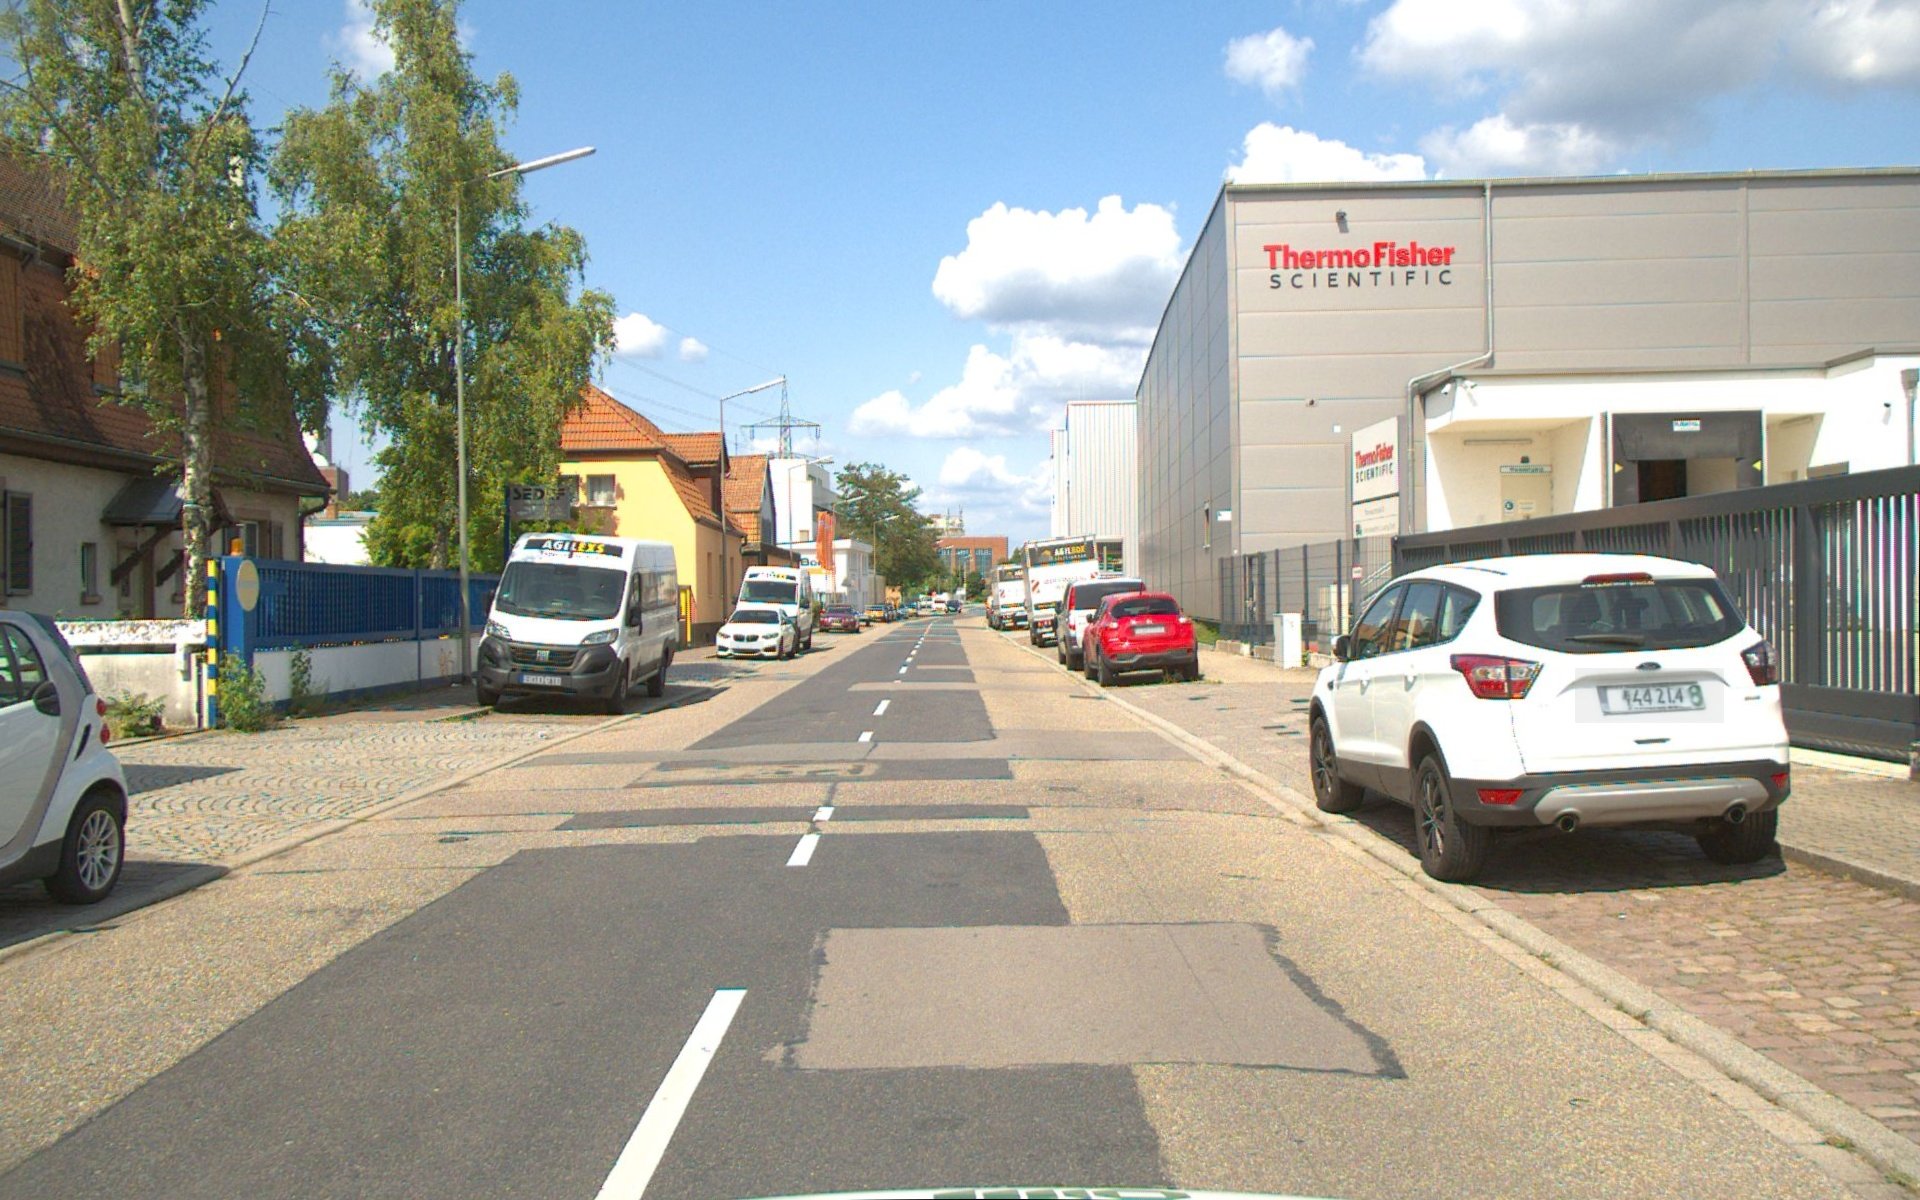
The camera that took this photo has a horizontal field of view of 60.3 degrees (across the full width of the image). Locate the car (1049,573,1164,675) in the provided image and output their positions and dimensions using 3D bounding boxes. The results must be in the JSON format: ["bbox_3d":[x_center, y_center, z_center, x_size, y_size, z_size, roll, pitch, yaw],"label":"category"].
[{"bbox_3d":[3.170,0.495,36.863,2.012,1.936,5.147,-5,0,1],"label":"car"}]

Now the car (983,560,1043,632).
[{"bbox_3d":[2.682,-0.171,85.618,2.341,3.421,6.640,-4,0,-3],"label":"car"}]

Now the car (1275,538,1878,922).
[{"bbox_3d":[3.444,0.619,10.369,1.896,1.723,4.679,-4,0,-1],"label":"car"}]

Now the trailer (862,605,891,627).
[{"bbox_3d":[-6.225,1.189,124.027,1.953,1.584,4.253,-1,0,0],"label":"trailer"}]

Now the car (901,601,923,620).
[{"bbox_3d":[-4.713,1.065,163.076,1.882,1.825,4.001,0,-1,2],"label":"car"}]

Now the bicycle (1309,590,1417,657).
[{"bbox_3d":[7.733,0.449,31.742,1.909,1.163,0.457,-3,0,2],"label":"bicycle"}]

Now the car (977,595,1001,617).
[{"bbox_3d":[2.478,0.543,139.603,1.899,1.772,4.377,-2,0,2],"label":"car"}]

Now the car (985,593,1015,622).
[{"bbox_3d":[2.367,0.451,98.077,1.732,1.640,3.873,-1,-1,1],"label":"car"}]

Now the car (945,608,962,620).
[{"bbox_3d":[-0.712,1.566,187.760,1.879,1.307,3.614,-2,0,-1],"label":"car"}]

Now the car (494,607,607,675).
[{"bbox_3d":[-10.896,1.052,44.292,1.827,1.488,4.144,-3,2,2],"label":"car"}]

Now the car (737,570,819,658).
[{"bbox_3d":[-5.707,0.443,52.697,1.986,2.606,6.837,0,0,-1],"label":"car"}]

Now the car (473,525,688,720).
[{"bbox_3d":[-5.664,0.335,25.640,1.989,2.602,6.654,1,-1,-2],"label":"car"}]

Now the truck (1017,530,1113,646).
[{"bbox_3d":[3.357,-0.359,54.462,2.409,3.349,6.817,-6,0,0],"label":"truck"}]

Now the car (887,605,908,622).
[{"bbox_3d":[-5.463,1.167,145.114,1.634,1.473,3.453,1,-1,0],"label":"car"}]

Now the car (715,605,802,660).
[{"bbox_3d":[-5.466,0.870,45.389,1.759,1.422,4.502,0,0,1],"label":"car"}]

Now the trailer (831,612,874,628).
[{"bbox_3d":[-6.665,1.240,102.998,2.314,0.908,5.568,1,0,0],"label":"trailer"}]

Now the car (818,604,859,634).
[{"bbox_3d":[-6.156,0.954,84.324,1.726,1.473,4.740,1,0,0],"label":"car"}]

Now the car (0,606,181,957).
[{"bbox_3d":[-5.276,0.850,7.888,1.576,1.601,3.010,2,0,1],"label":"car"}]

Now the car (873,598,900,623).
[{"bbox_3d":[-6.179,0.868,139.599,1.952,2.049,4.001,0,-1,2],"label":"car"}]

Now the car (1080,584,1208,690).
[{"bbox_3d":[3.249,0.645,29.871,1.670,1.652,4.091,-4,0,-1],"label":"car"}]
